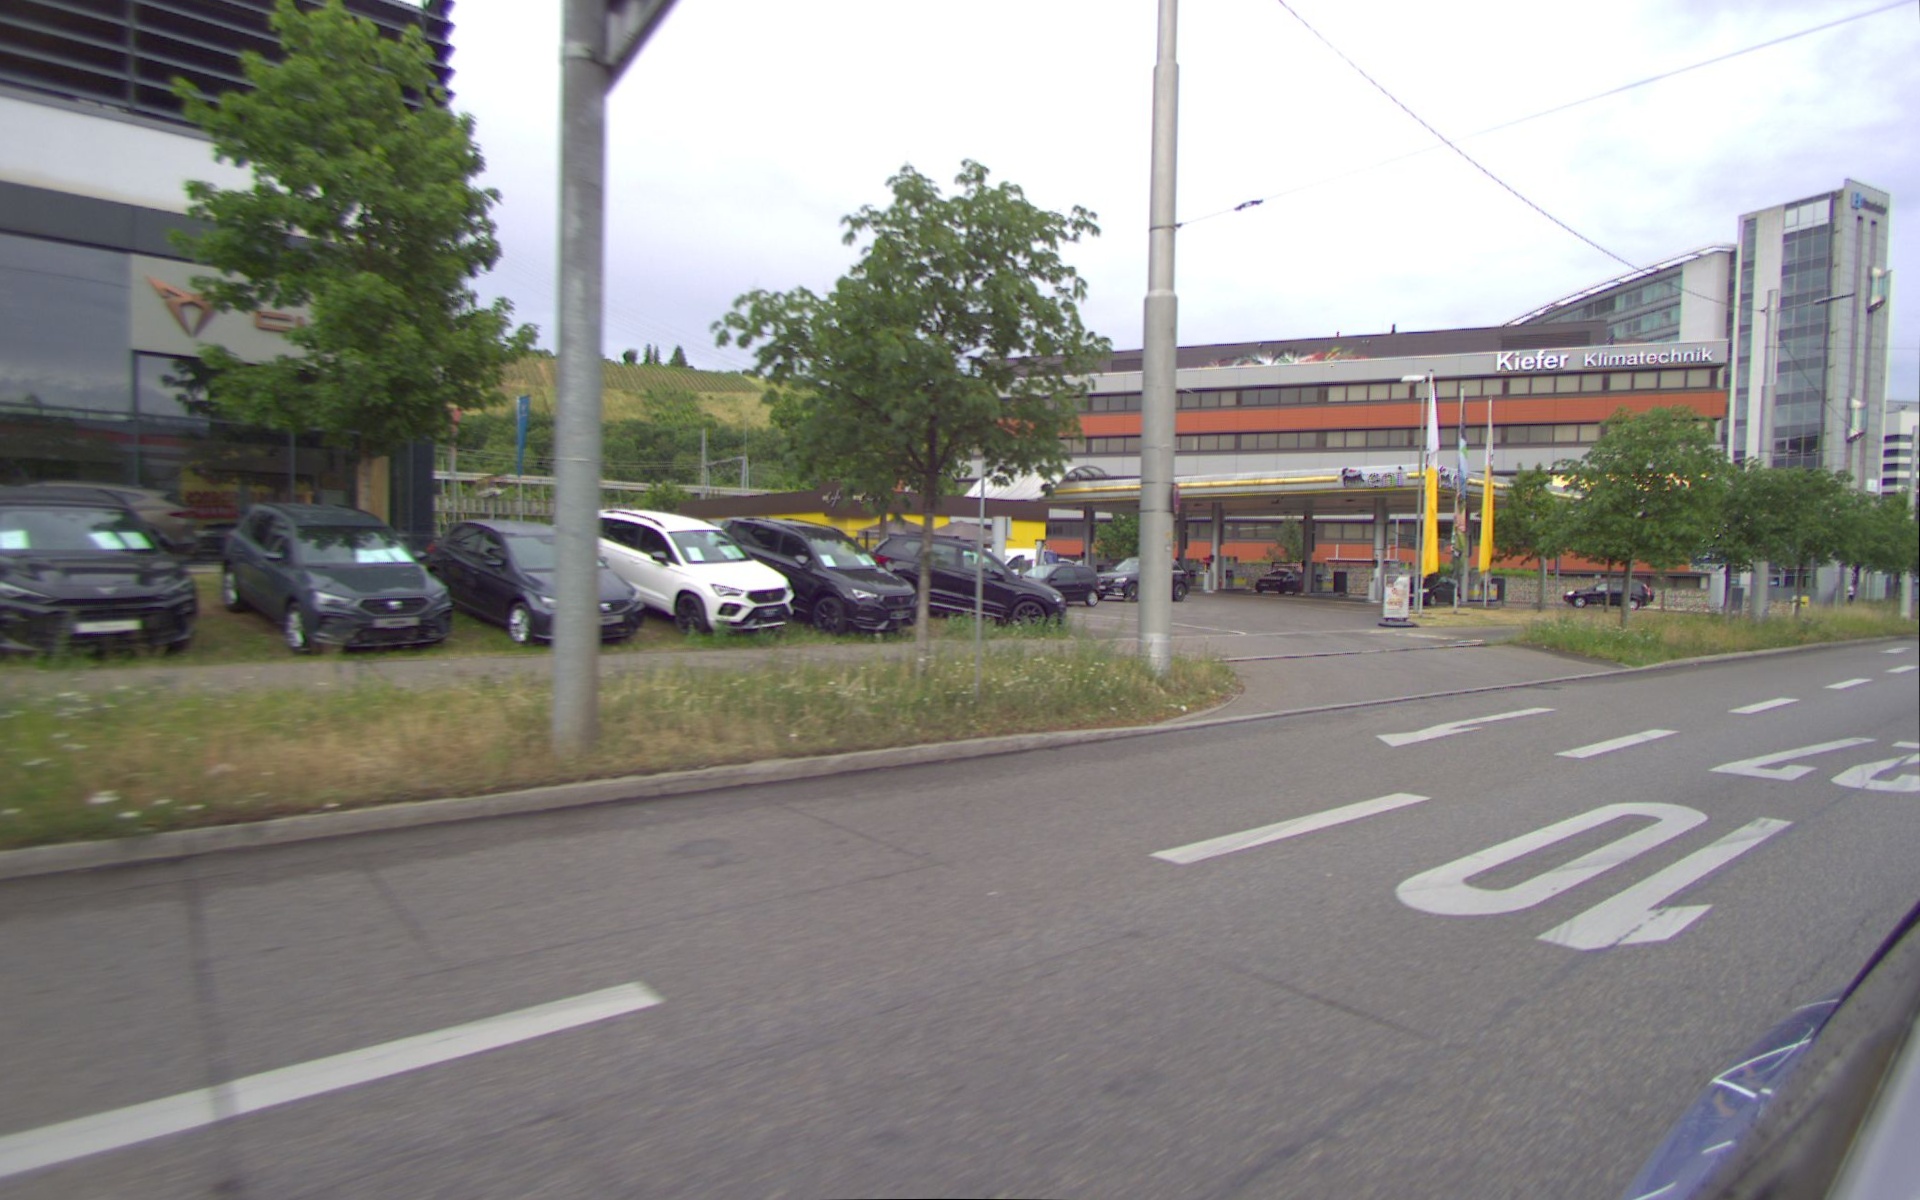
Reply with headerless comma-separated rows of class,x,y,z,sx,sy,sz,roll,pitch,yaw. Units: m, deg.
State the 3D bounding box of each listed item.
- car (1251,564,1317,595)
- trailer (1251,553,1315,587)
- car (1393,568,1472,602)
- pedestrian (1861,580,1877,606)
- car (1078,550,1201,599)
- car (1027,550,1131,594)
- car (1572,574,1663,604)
car,19.510,-1.228,60.889,3.931,1.668,1.903,0,6,-41
trailer,22.409,-2.075,70.197,3.958,2.172,1.824,3,2,25
car,21.438,-0.668,45.891,3.714,1.436,1.784,0,4,-40
pedestrian,66.471,-0.515,73.977,0.675,1.925,0.673,0,0,26
car,6.929,-0.965,38.863,4.629,1.757,2.000,0,3,-37
car,4.024,-0.922,33.971,3.425,1.354,1.396,0,3,-37
car,38.279,-0.629,59.048,4.324,1.667,1.774,0,0,31
